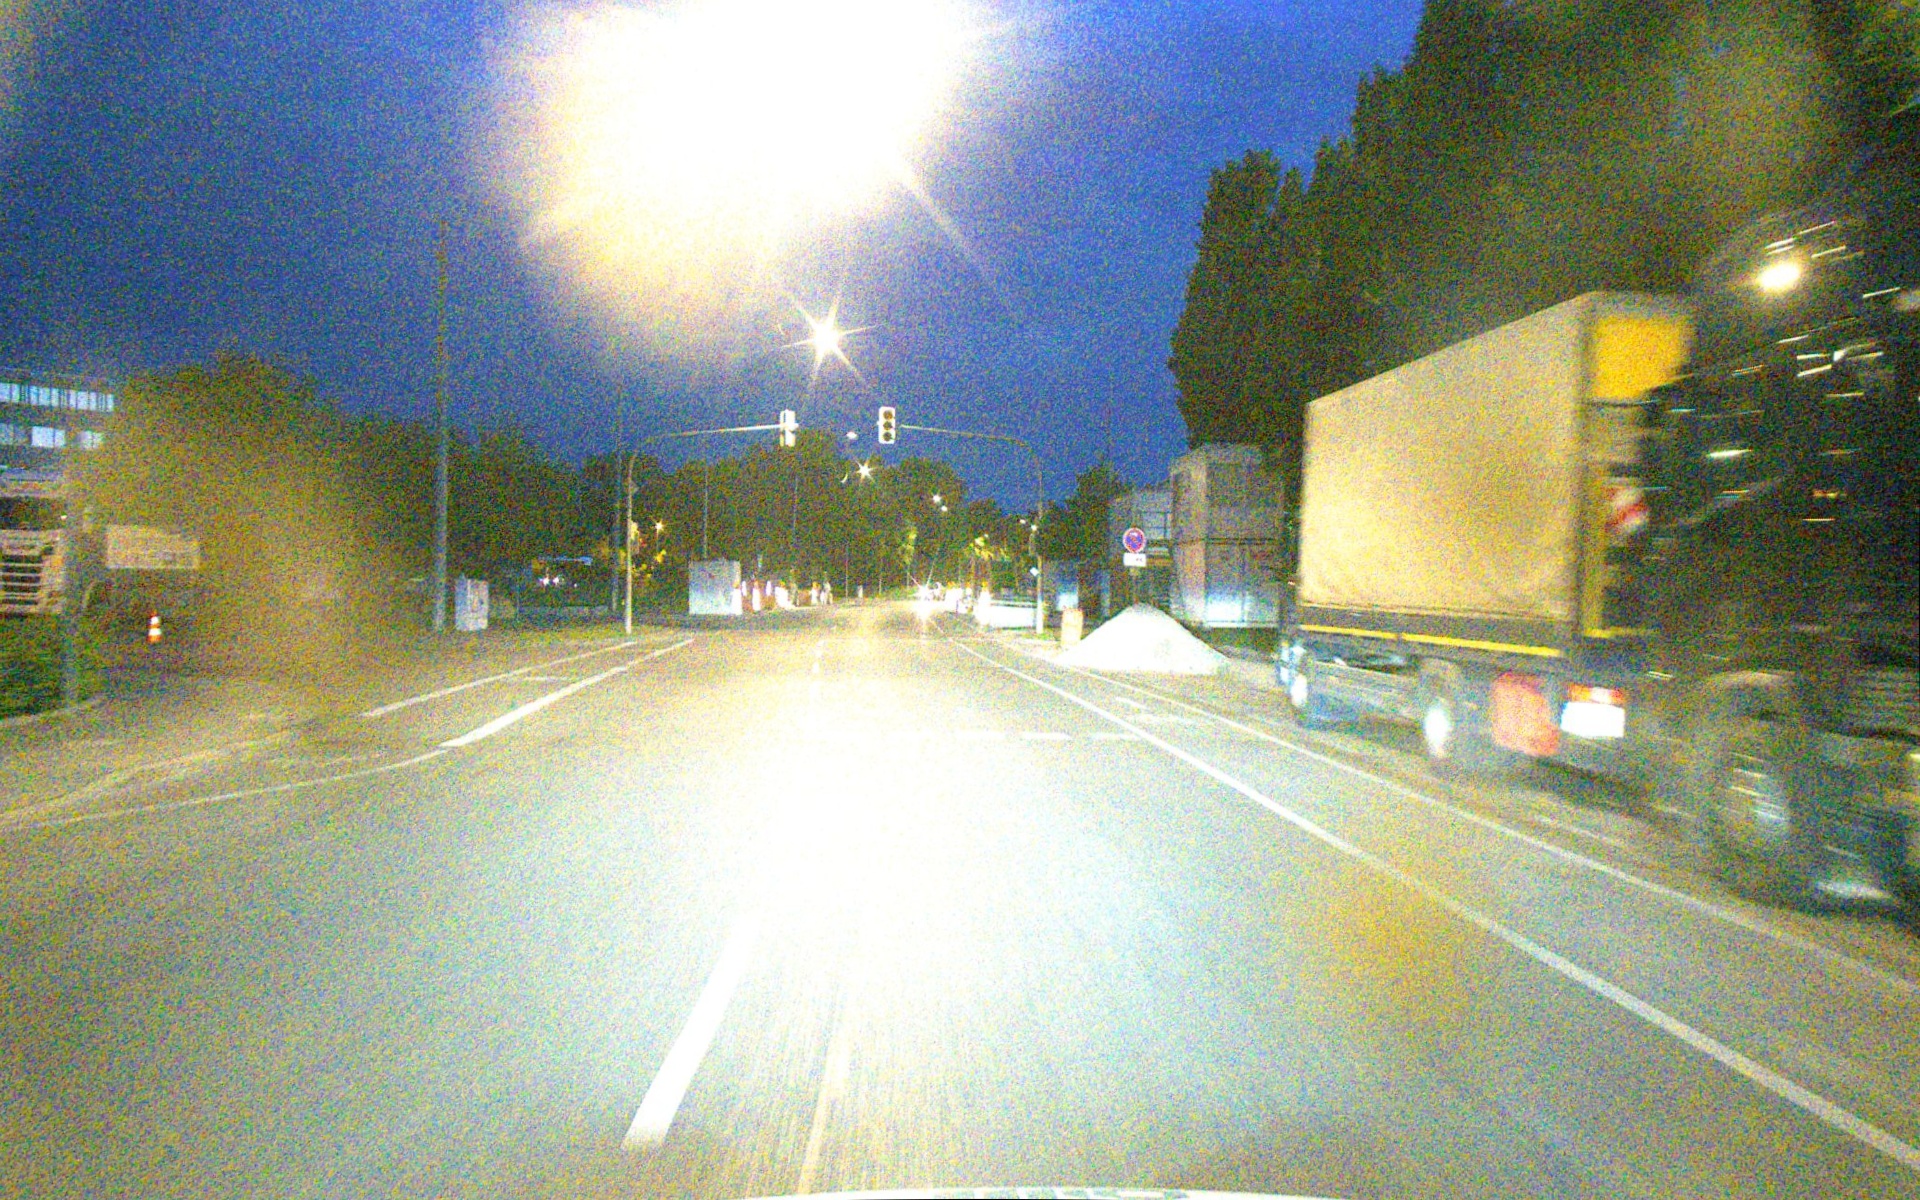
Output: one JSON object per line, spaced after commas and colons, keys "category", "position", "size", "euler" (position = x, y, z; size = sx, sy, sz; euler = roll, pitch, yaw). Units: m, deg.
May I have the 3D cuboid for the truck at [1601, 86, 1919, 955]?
{"category": "truck", "position": [5.652, -0.343, 6.094], "size": [2.700, 3.849, 9.133], "euler": [0, 0, -2]}

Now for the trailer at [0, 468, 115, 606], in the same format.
{"category": "trailer", "position": [-32.987, -2.069, 50.520], "size": [2.994, 4.433, 15.010], "euler": [2, 1, 18]}

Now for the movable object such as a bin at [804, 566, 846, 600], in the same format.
{"category": "movable object such as a bin", "position": [-9.816, -1.256, 120.760], "size": [1.951, 2.418, 4.706], "euler": [0, 0, 9]}

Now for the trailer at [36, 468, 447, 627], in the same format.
{"category": "trailer", "position": [-20.751, -1.381, 49.768], "size": [2.993, 4.001, 15.015], "euler": [2, 1, 13]}

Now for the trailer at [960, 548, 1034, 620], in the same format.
{"category": "trailer", "position": [1.537, -0.670, 71.352], "size": [2.563, 2.895, 4.703], "euler": [2, 0, -6]}

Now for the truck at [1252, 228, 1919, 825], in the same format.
{"category": "truck", "position": [5.310, -0.491, 15.856], "size": [2.700, 3.849, 10.219], "euler": [0, 0, -3]}

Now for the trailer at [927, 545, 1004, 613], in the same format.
{"category": "trailer", "position": [0.242, -1.062, 85.627], "size": [3.414, 3.275, 4.858], "euler": [2, 0, -6]}

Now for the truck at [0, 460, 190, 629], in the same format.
{"category": "truck", "position": [-22.465, -1.367, 42.082], "size": [2.993, 4.001, 4.507], "euler": [2, 0, 12]}

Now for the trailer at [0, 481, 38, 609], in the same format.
{"category": "trailer", "position": [-36.479, -1.971, 52.368], "size": [2.993, 4.433, 15.013], "euler": [2, 1, 15]}

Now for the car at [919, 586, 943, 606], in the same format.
{"category": "car", "position": [-2.436, -0.363, 141.275], "size": [1.660, 1.604, 2.959], "euler": [-2, 1, 6]}

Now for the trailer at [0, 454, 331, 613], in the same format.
{"category": "trailer", "position": [-25.195, -1.812, 49.297], "size": [2.995, 4.220, 15.007], "euler": [2, 1, 19]}

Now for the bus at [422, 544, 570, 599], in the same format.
{"category": "bus", "position": [-28.883, -1.800, 103.890], "size": [2.948, 3.260, 12.683], "euler": [1, 1, 15]}

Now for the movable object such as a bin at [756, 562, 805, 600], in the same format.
{"category": "movable object such as a bin", "position": [-11.695, -1.218, 108.133], "size": [1.951, 2.418, 4.706], "euler": [0, 0, 9]}

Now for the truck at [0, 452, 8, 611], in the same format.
{"category": "truck", "position": [-27.641, -1.874, 42.213], "size": [2.995, 4.220, 4.937], "euler": [2, 0, 19]}

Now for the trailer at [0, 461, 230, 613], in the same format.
{"category": "trailer", "position": [-28.998, -1.899, 50.444], "size": [2.994, 4.433, 15.009], "euler": [2, 1, 18]}
